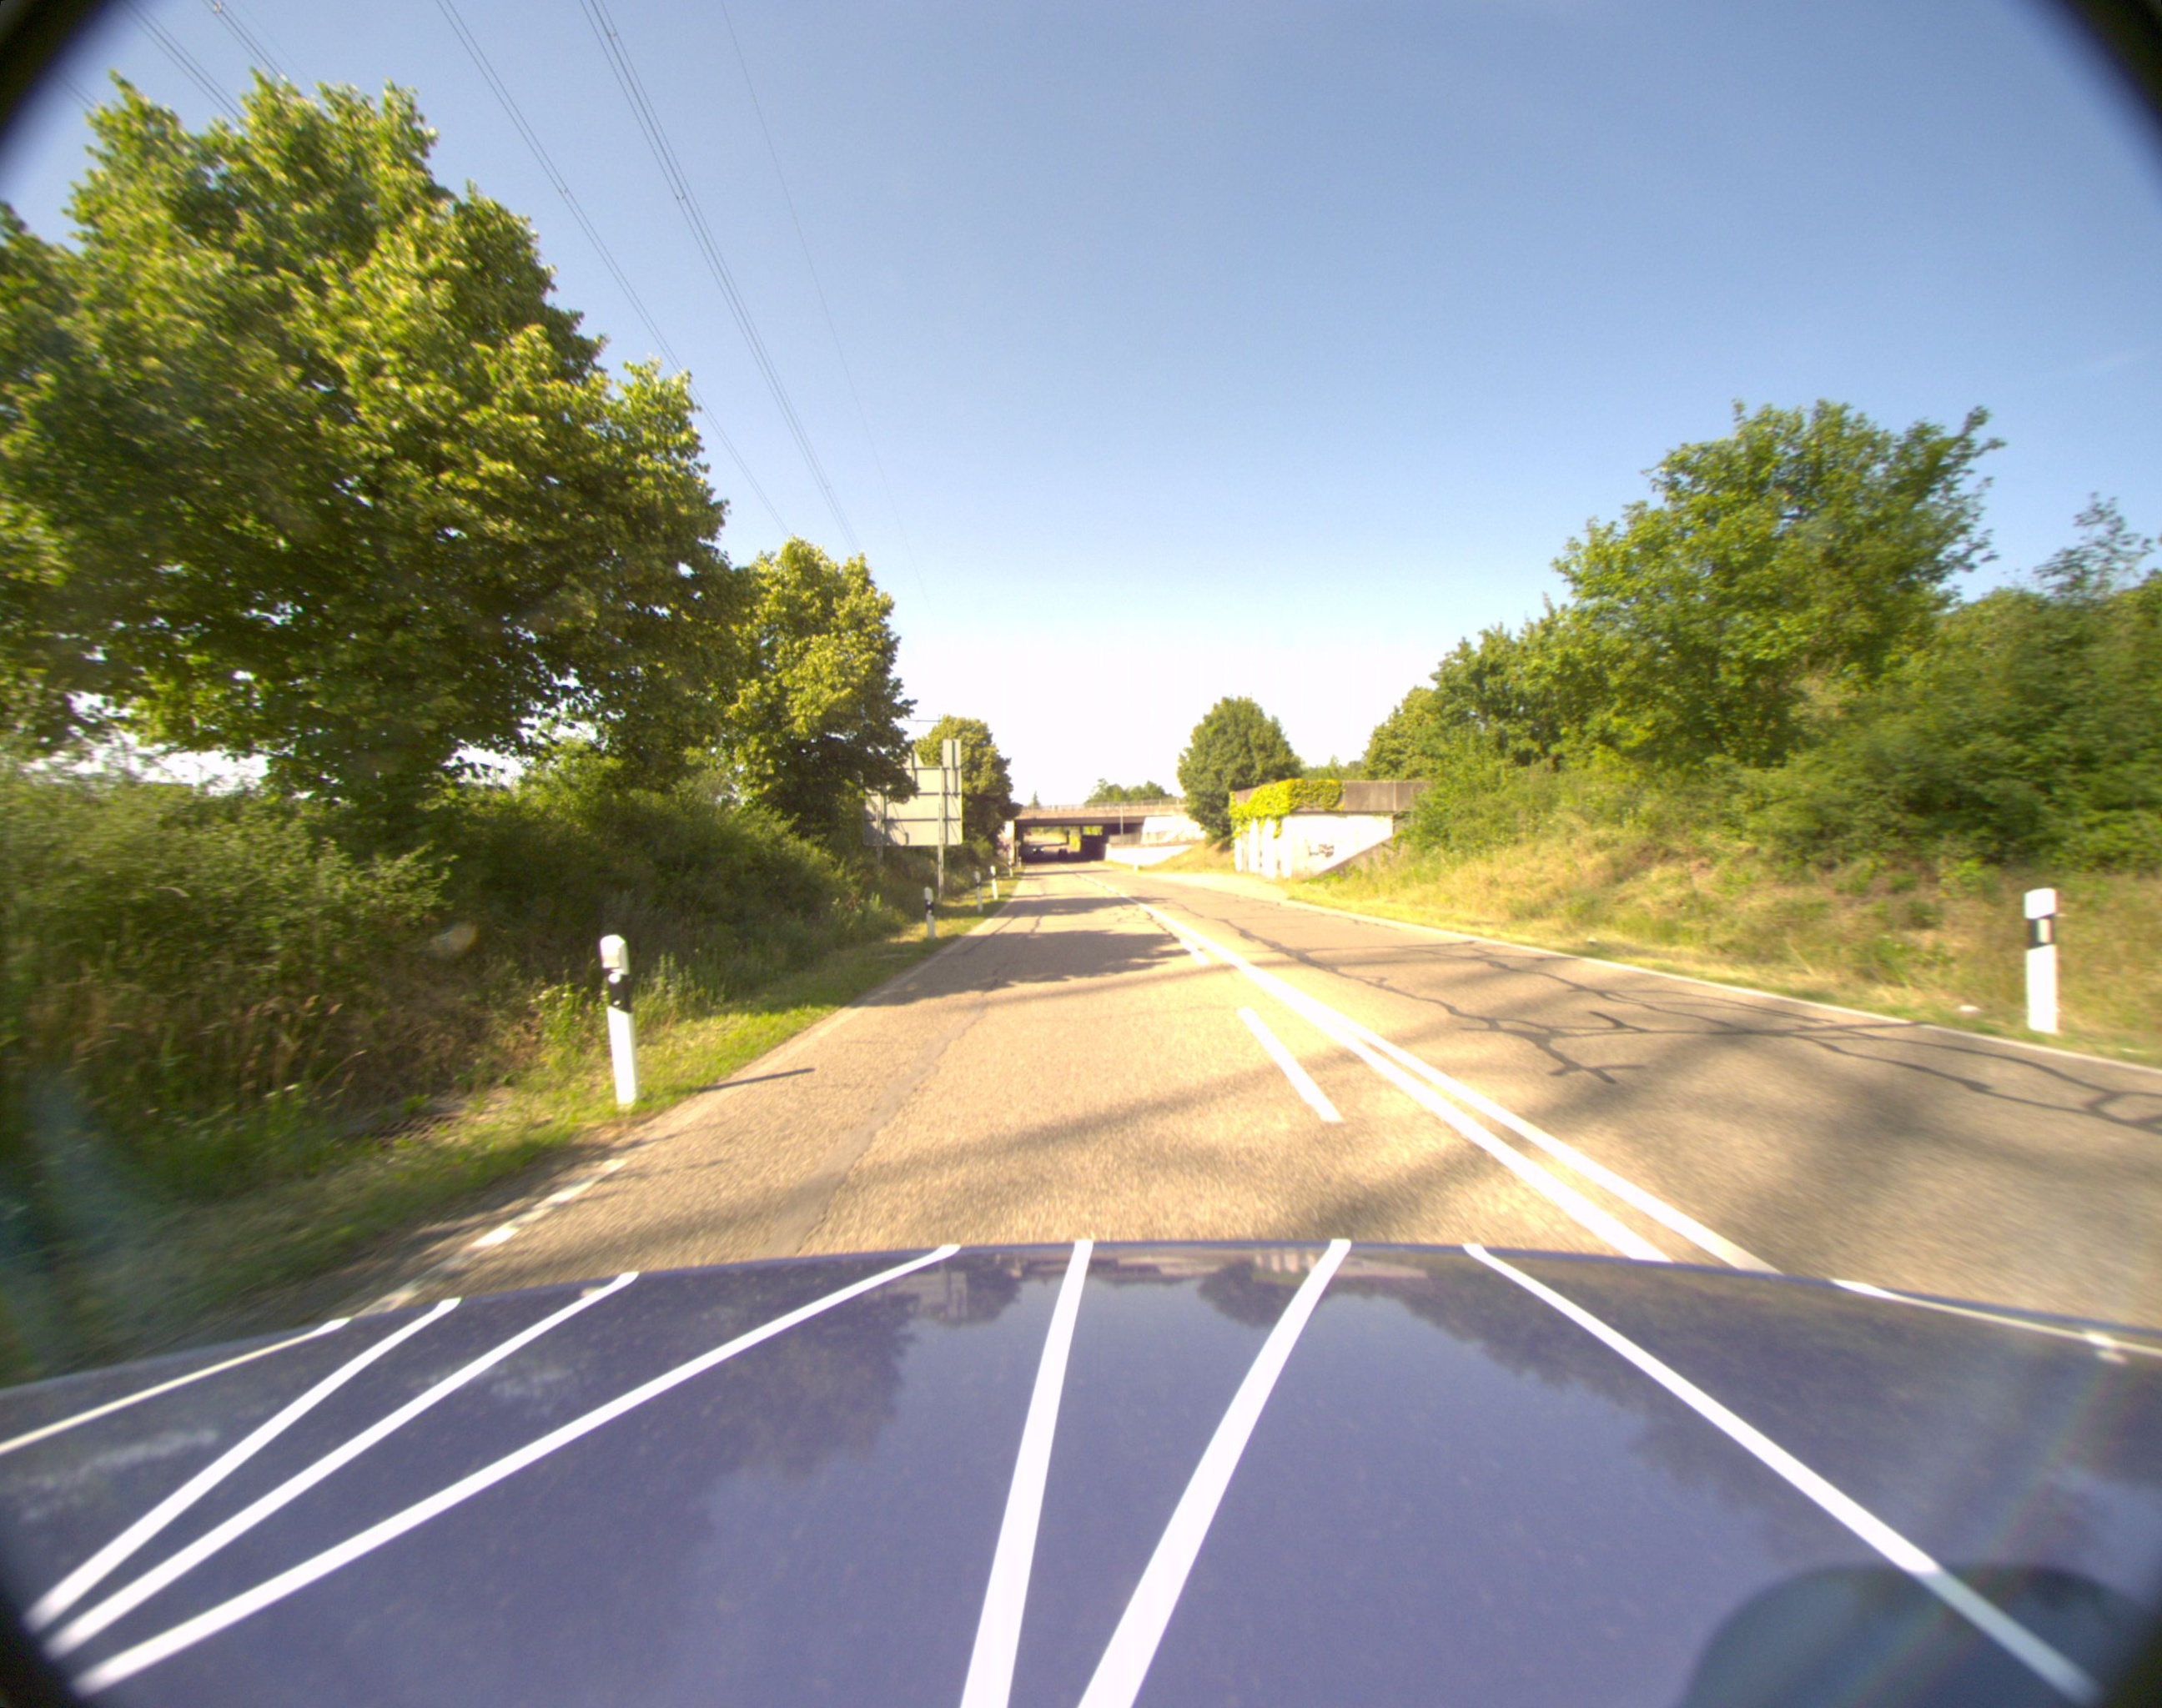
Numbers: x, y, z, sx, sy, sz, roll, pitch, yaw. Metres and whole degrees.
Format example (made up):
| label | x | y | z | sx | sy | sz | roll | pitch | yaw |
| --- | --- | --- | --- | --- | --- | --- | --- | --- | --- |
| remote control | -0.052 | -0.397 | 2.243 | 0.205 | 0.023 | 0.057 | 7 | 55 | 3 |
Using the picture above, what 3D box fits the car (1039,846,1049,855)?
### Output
| label | x | y | z | sx | sy | sz | roll | pitch | yaw |
| --- | --- | --- | --- | --- | --- | --- | --- | --- | --- |
| car | -6.934 | -0.653 | 143.059 | 1.860 | 1.610 | 3.646 | -1 | 0 | -4 |
